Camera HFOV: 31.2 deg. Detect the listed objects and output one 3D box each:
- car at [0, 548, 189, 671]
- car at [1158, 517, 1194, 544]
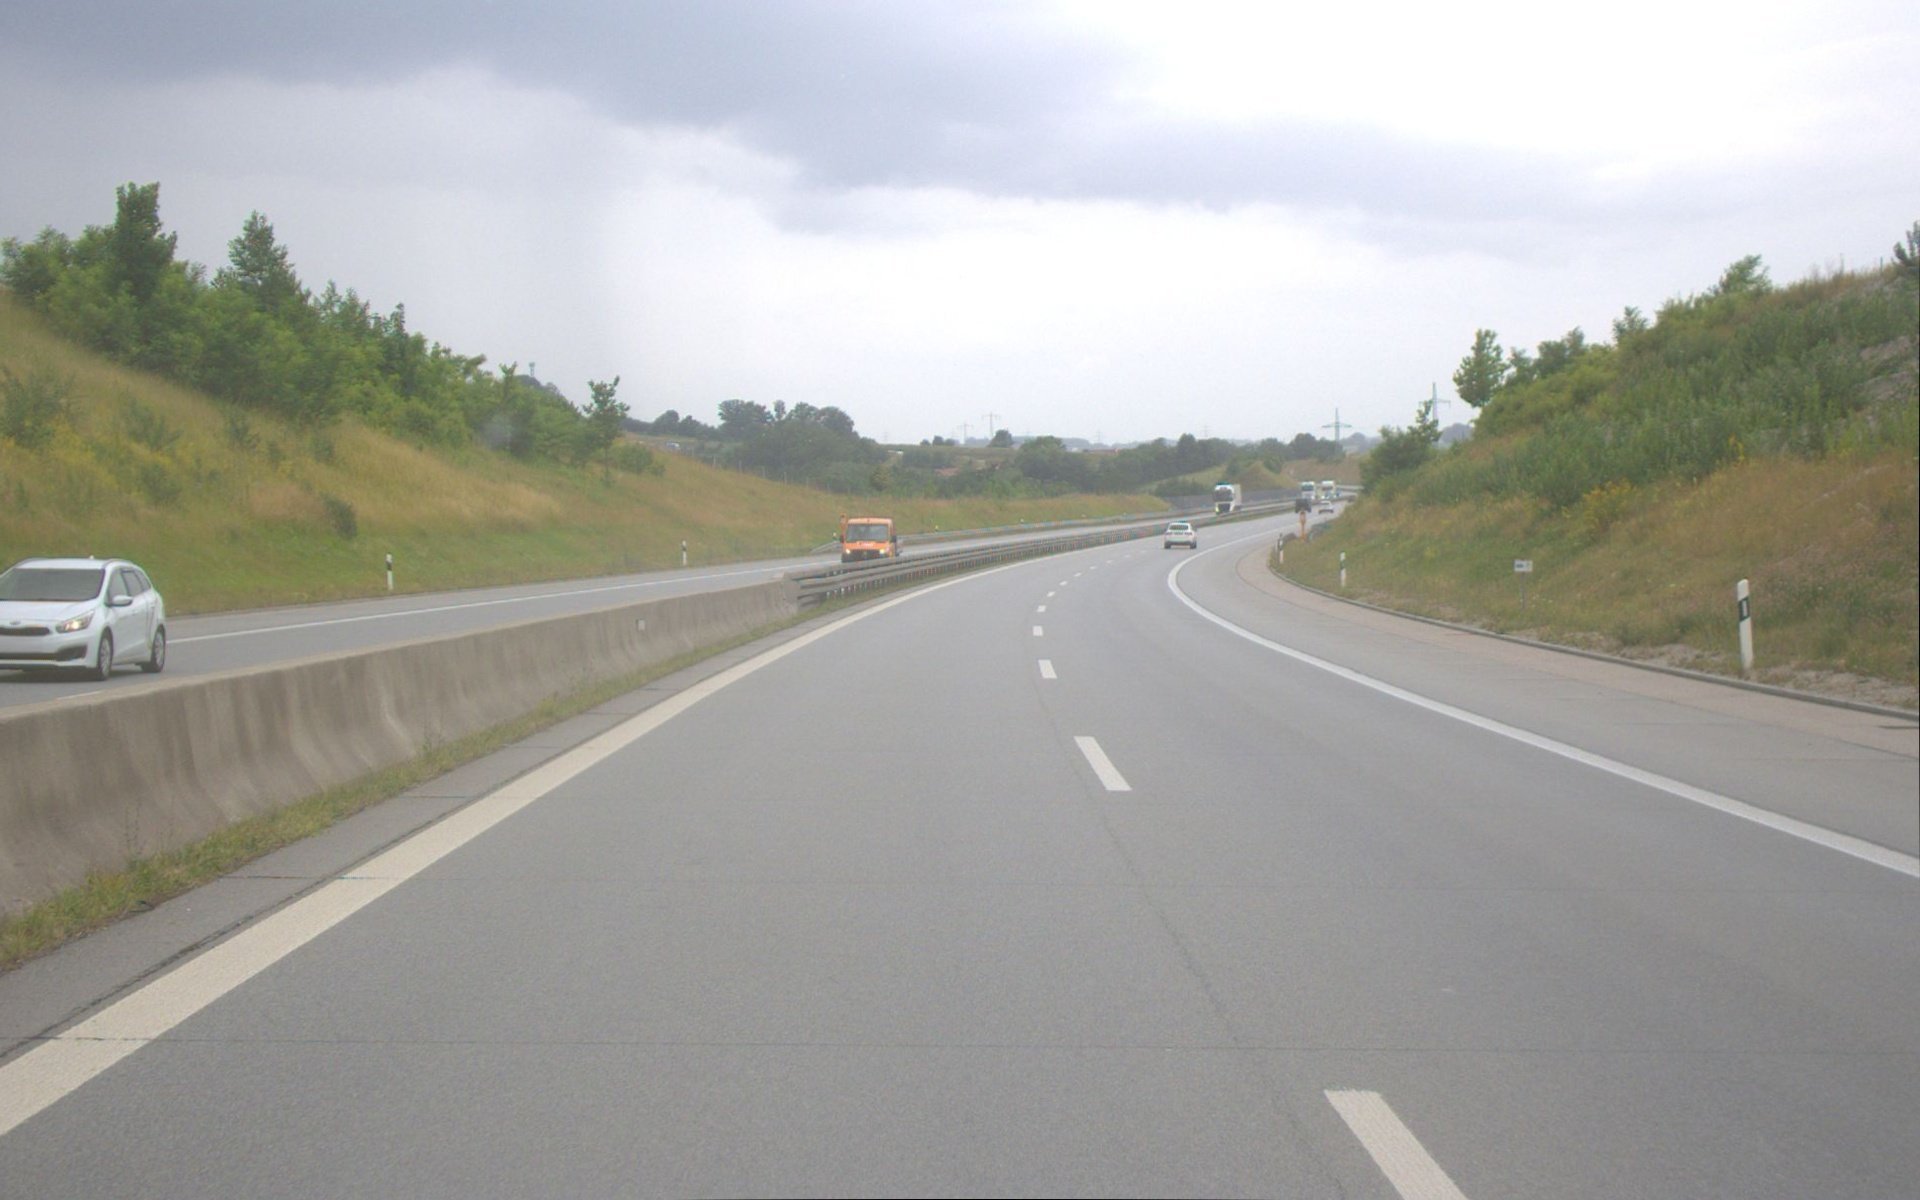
[{"bbox_3d":[-11.073,0.073,42.973,1.773,1.435,5.016,0,1,0],"label":"car"},{"bbox_3d":[13.577,-4.368,215.880,1.956,1.645,4.000,0,1,-1],"label":"car"}]
